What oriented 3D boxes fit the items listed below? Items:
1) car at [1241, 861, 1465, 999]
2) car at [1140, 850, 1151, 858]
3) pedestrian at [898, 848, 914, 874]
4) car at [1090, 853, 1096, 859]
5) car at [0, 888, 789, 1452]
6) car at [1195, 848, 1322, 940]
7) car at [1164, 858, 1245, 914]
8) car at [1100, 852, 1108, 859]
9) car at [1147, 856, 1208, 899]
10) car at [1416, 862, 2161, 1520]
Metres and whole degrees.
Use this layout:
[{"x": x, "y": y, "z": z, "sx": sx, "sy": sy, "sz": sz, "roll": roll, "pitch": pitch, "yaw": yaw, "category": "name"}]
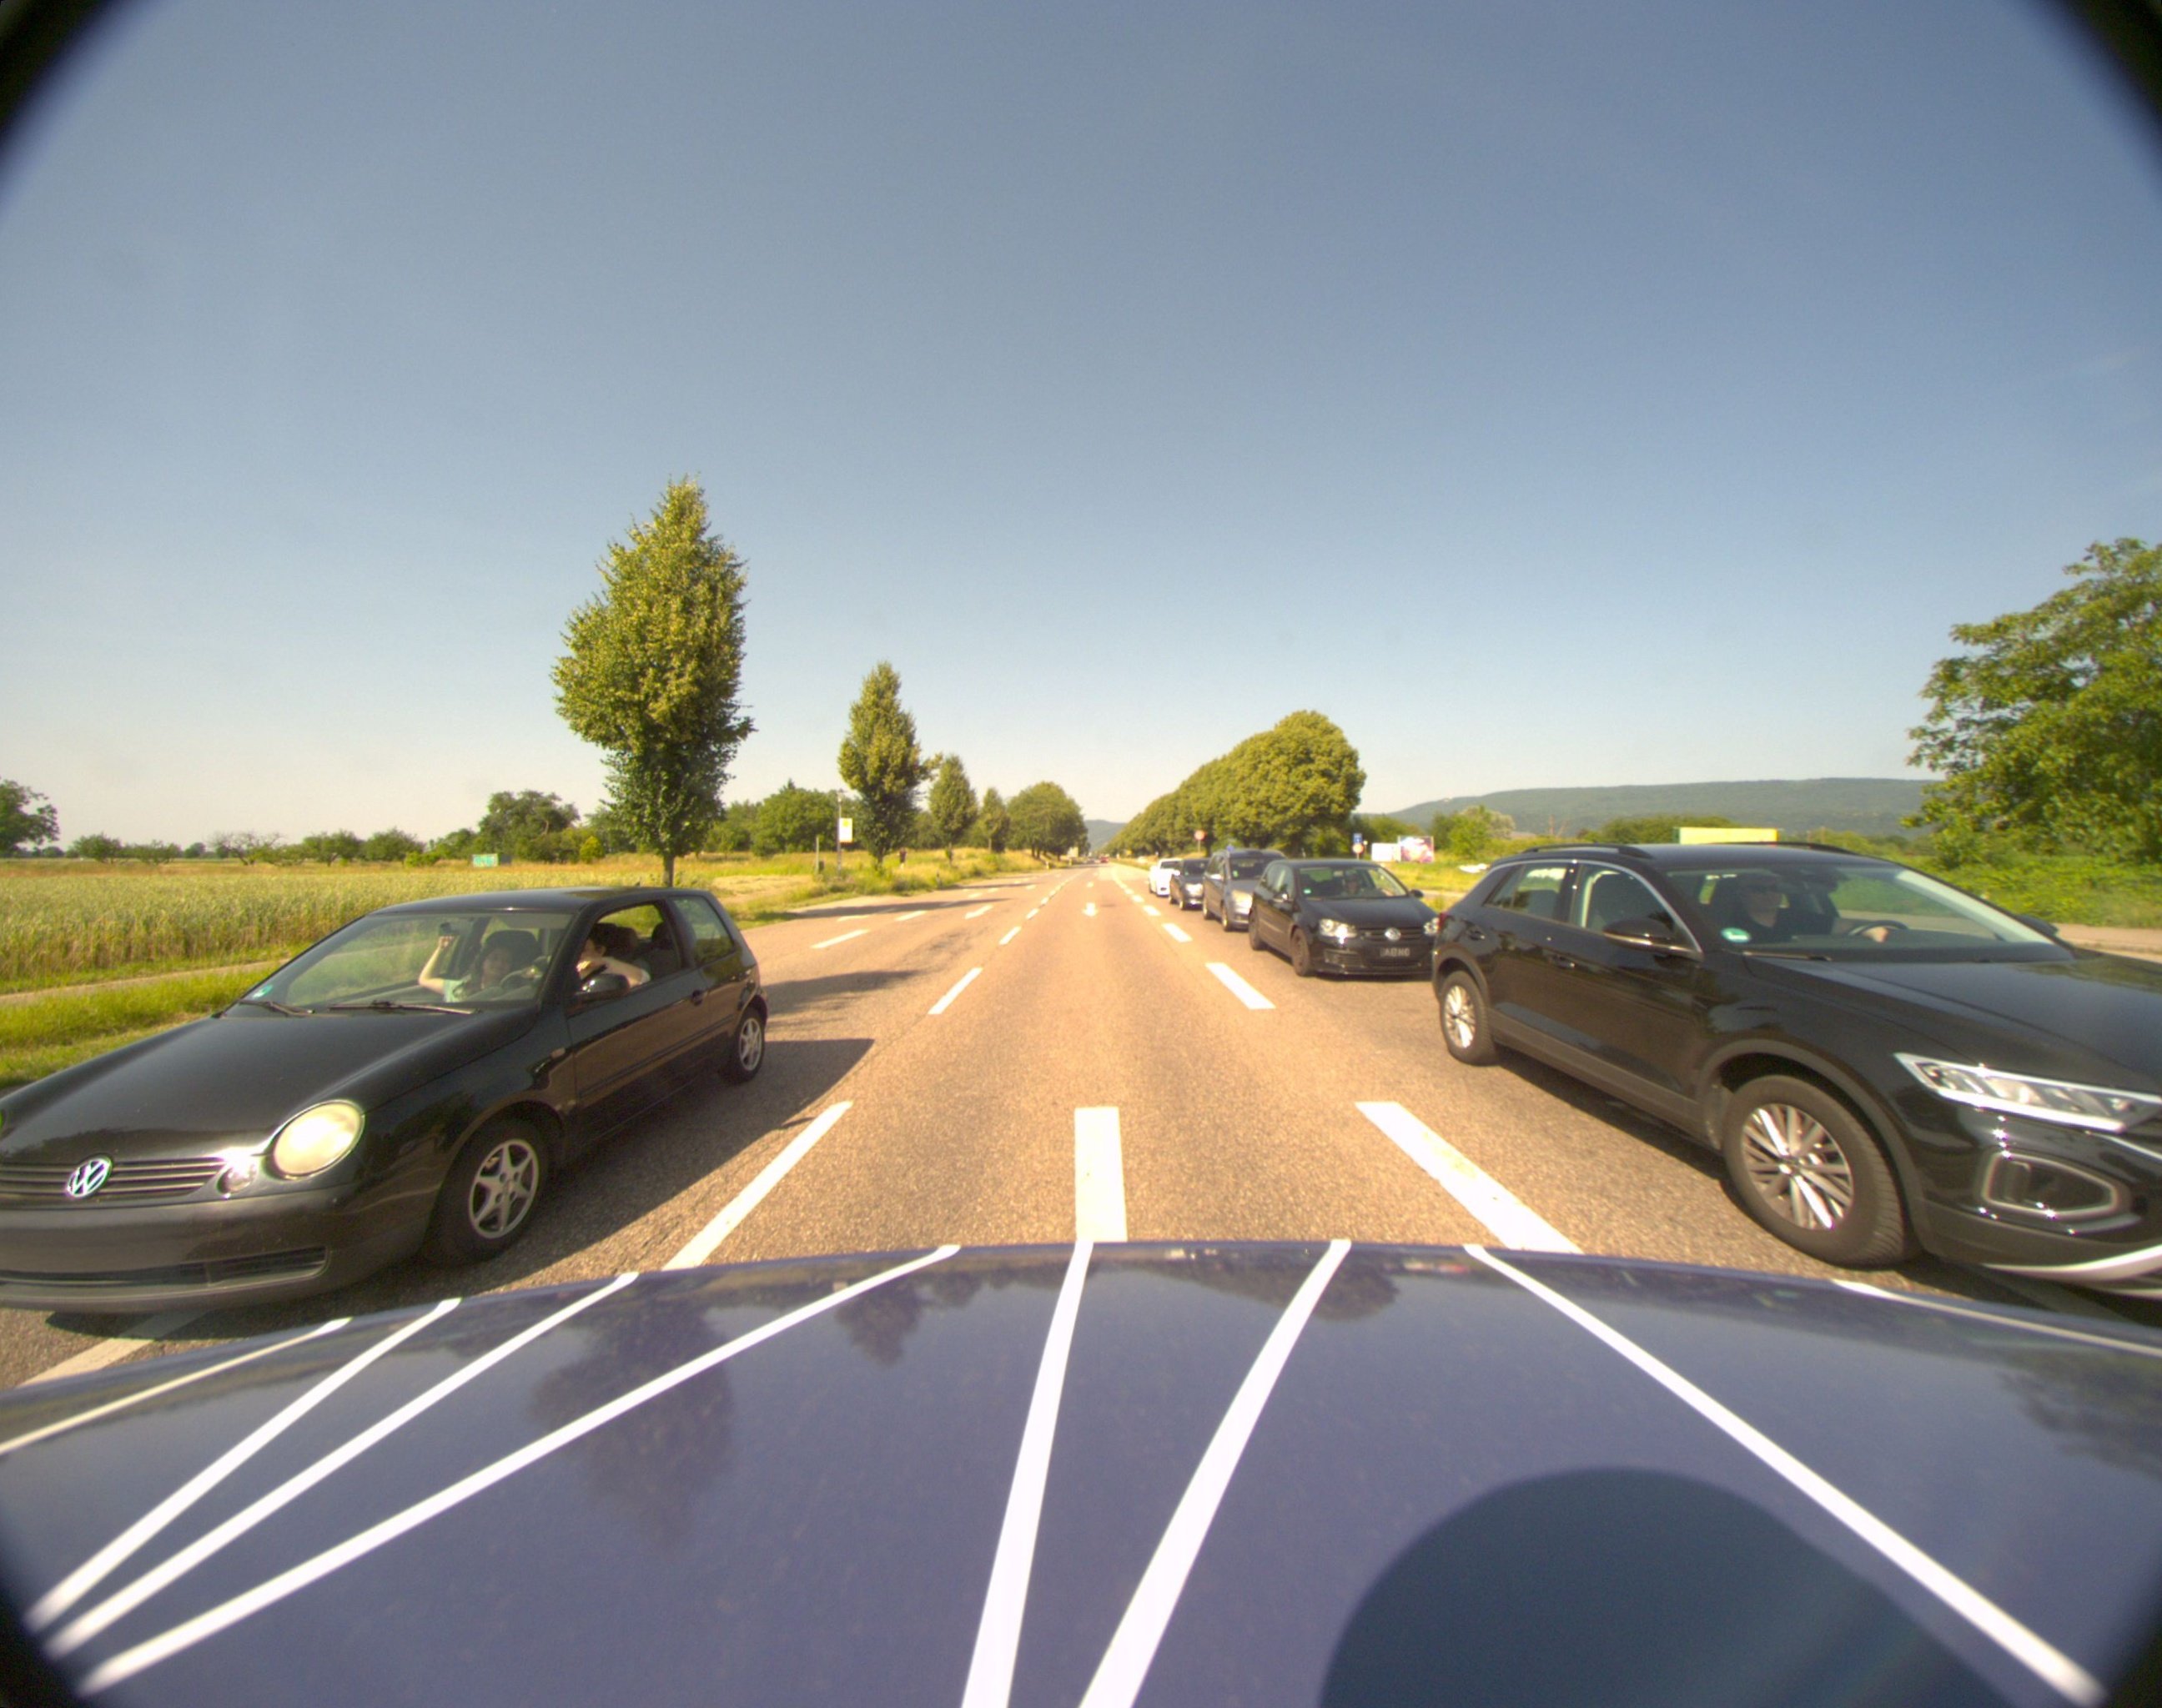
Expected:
[{"x": 3.434, "y": 0.865, "z": 10.454, "sx": 1.670, "sy": 1.466, "sz": 4.098, "roll": -1, "pitch": 0, "yaw": 1, "category": "car"}, {"x": 11.792, "y": -0.003, "z": 138.721, "sx": 1.887, "sy": 1.506, "sz": 4.149, "roll": -1, "pitch": 0, "yaw": 4, "category": "car"}, {"x": -12.428, "y": 0.513, "z": 54.078, "sx": 0.904, "sy": 1.828, "sz": 1.194, "roll": 0, "pitch": 0, "yaw": -1, "category": "pedestrian"}, {"x": 3.281, "y": 0.519, "z": 207.384, "sx": 1.680, "sy": 1.499, "sz": 3.725, "roll": 0, "pitch": 0, "yaw": 1, "category": "car"}, {"x": -3.099, "y": 1.004, "z": 3.990, "sx": 1.629, "sy": 1.425, "sz": 3.622, "roll": -2, "pitch": 0, "yaw": 1, "category": "car"}, {"x": 3.618, "y": 0.742, "z": 16.245, "sx": 1.745, "sy": 1.662, "sz": 4.357, "roll": -1, "pitch": 0, "yaw": 1, "category": "car"}, {"x": 3.490, "y": 0.861, "z": 22.198, "sx": 1.719, "sy": 1.402, "sz": 4.355, "roll": -2, "pitch": 0, "yaw": 1, "category": "car"}, {"x": 5.095, "y": 0.296, "z": 167.801, "sx": 1.680, "sy": 1.499, "sz": 3.725, "roll": 0, "pitch": 1, "yaw": 1, "category": "car"}, {"x": 3.606, "y": 0.838, "z": 29.128, "sx": 1.808, "sy": 1.417, "sz": 4.641, "roll": -1, "pitch": 0, "yaw": 1, "category": "car"}, {"x": 3.456, "y": 0.846, "z": 3.885, "sx": 1.733, "sy": 1.538, "sz": 4.098, "roll": -1, "pitch": 0, "yaw": 1, "category": "car"}]
